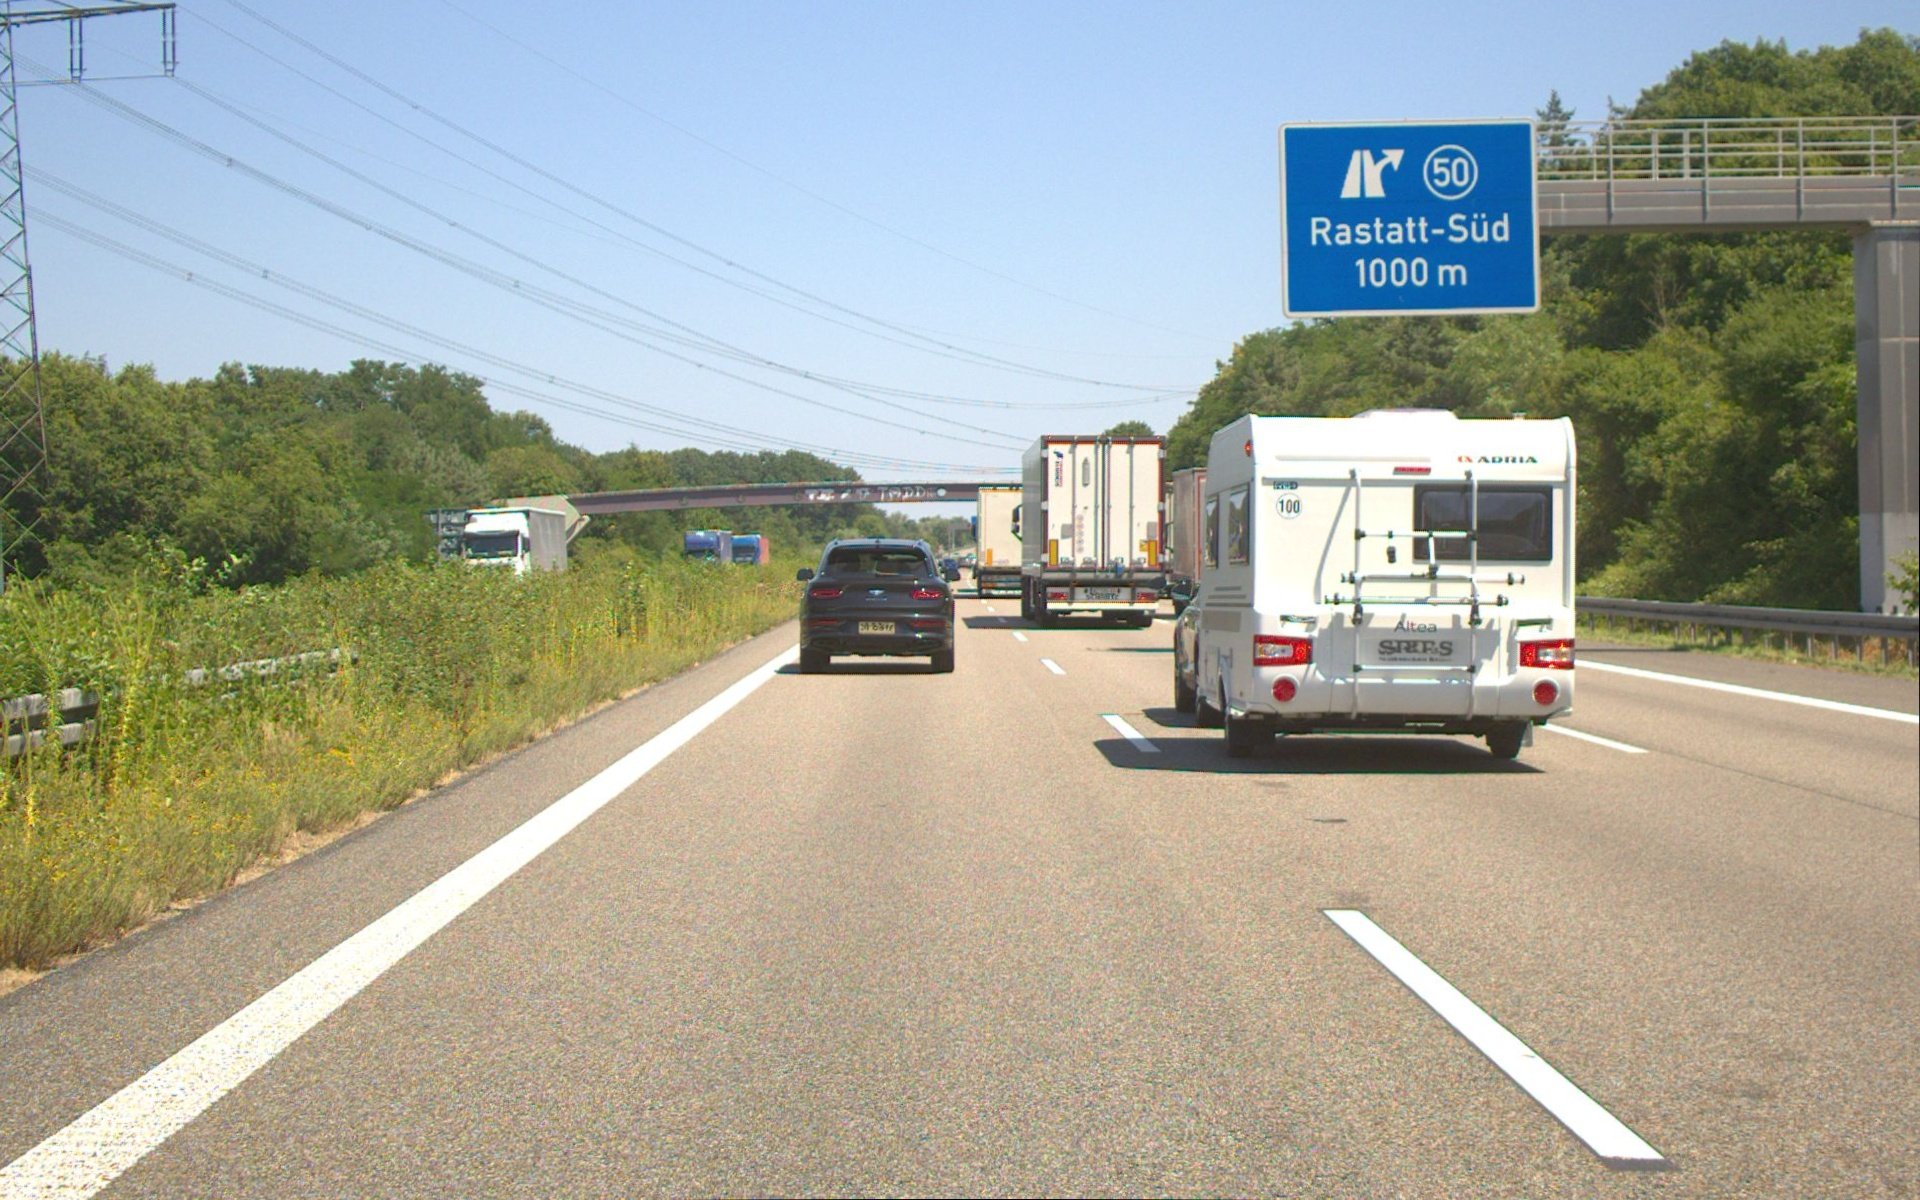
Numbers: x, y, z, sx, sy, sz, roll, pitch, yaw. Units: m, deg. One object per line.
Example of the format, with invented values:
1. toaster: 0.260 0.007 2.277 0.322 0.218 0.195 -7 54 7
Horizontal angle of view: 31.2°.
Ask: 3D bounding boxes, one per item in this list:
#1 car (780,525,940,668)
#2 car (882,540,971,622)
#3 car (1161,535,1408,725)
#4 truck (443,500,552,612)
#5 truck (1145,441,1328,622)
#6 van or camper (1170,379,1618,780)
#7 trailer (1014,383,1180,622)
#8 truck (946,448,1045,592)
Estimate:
1. car: -1.299 -0.080 45.032 1.993 1.766 4.000 -1 1 -1
2. car: -0.802 -0.462 79.023 1.961 1.808 4.449 -1 1 -1
3. car: 2.907 0.218 31.693 1.879 1.607 4.702 1 1 1
4. truck: -19.131 -1.833 142.638 3.368 4.393 6.556 -2 1 1
5. truck: 6.883 -1.677 87.585 3.571 4.230 11.652 1 0 0
6. van or camper: 3.096 -0.195 26.162 2.439 2.665 6.350 -1 1 -1
7. trailer: 2.917 -2.059 76.963 3.087 4.868 12.258 1 0 0
8. truck: 1.266 -2.972 129.110 3.512 5.149 10.259 1 1 0
